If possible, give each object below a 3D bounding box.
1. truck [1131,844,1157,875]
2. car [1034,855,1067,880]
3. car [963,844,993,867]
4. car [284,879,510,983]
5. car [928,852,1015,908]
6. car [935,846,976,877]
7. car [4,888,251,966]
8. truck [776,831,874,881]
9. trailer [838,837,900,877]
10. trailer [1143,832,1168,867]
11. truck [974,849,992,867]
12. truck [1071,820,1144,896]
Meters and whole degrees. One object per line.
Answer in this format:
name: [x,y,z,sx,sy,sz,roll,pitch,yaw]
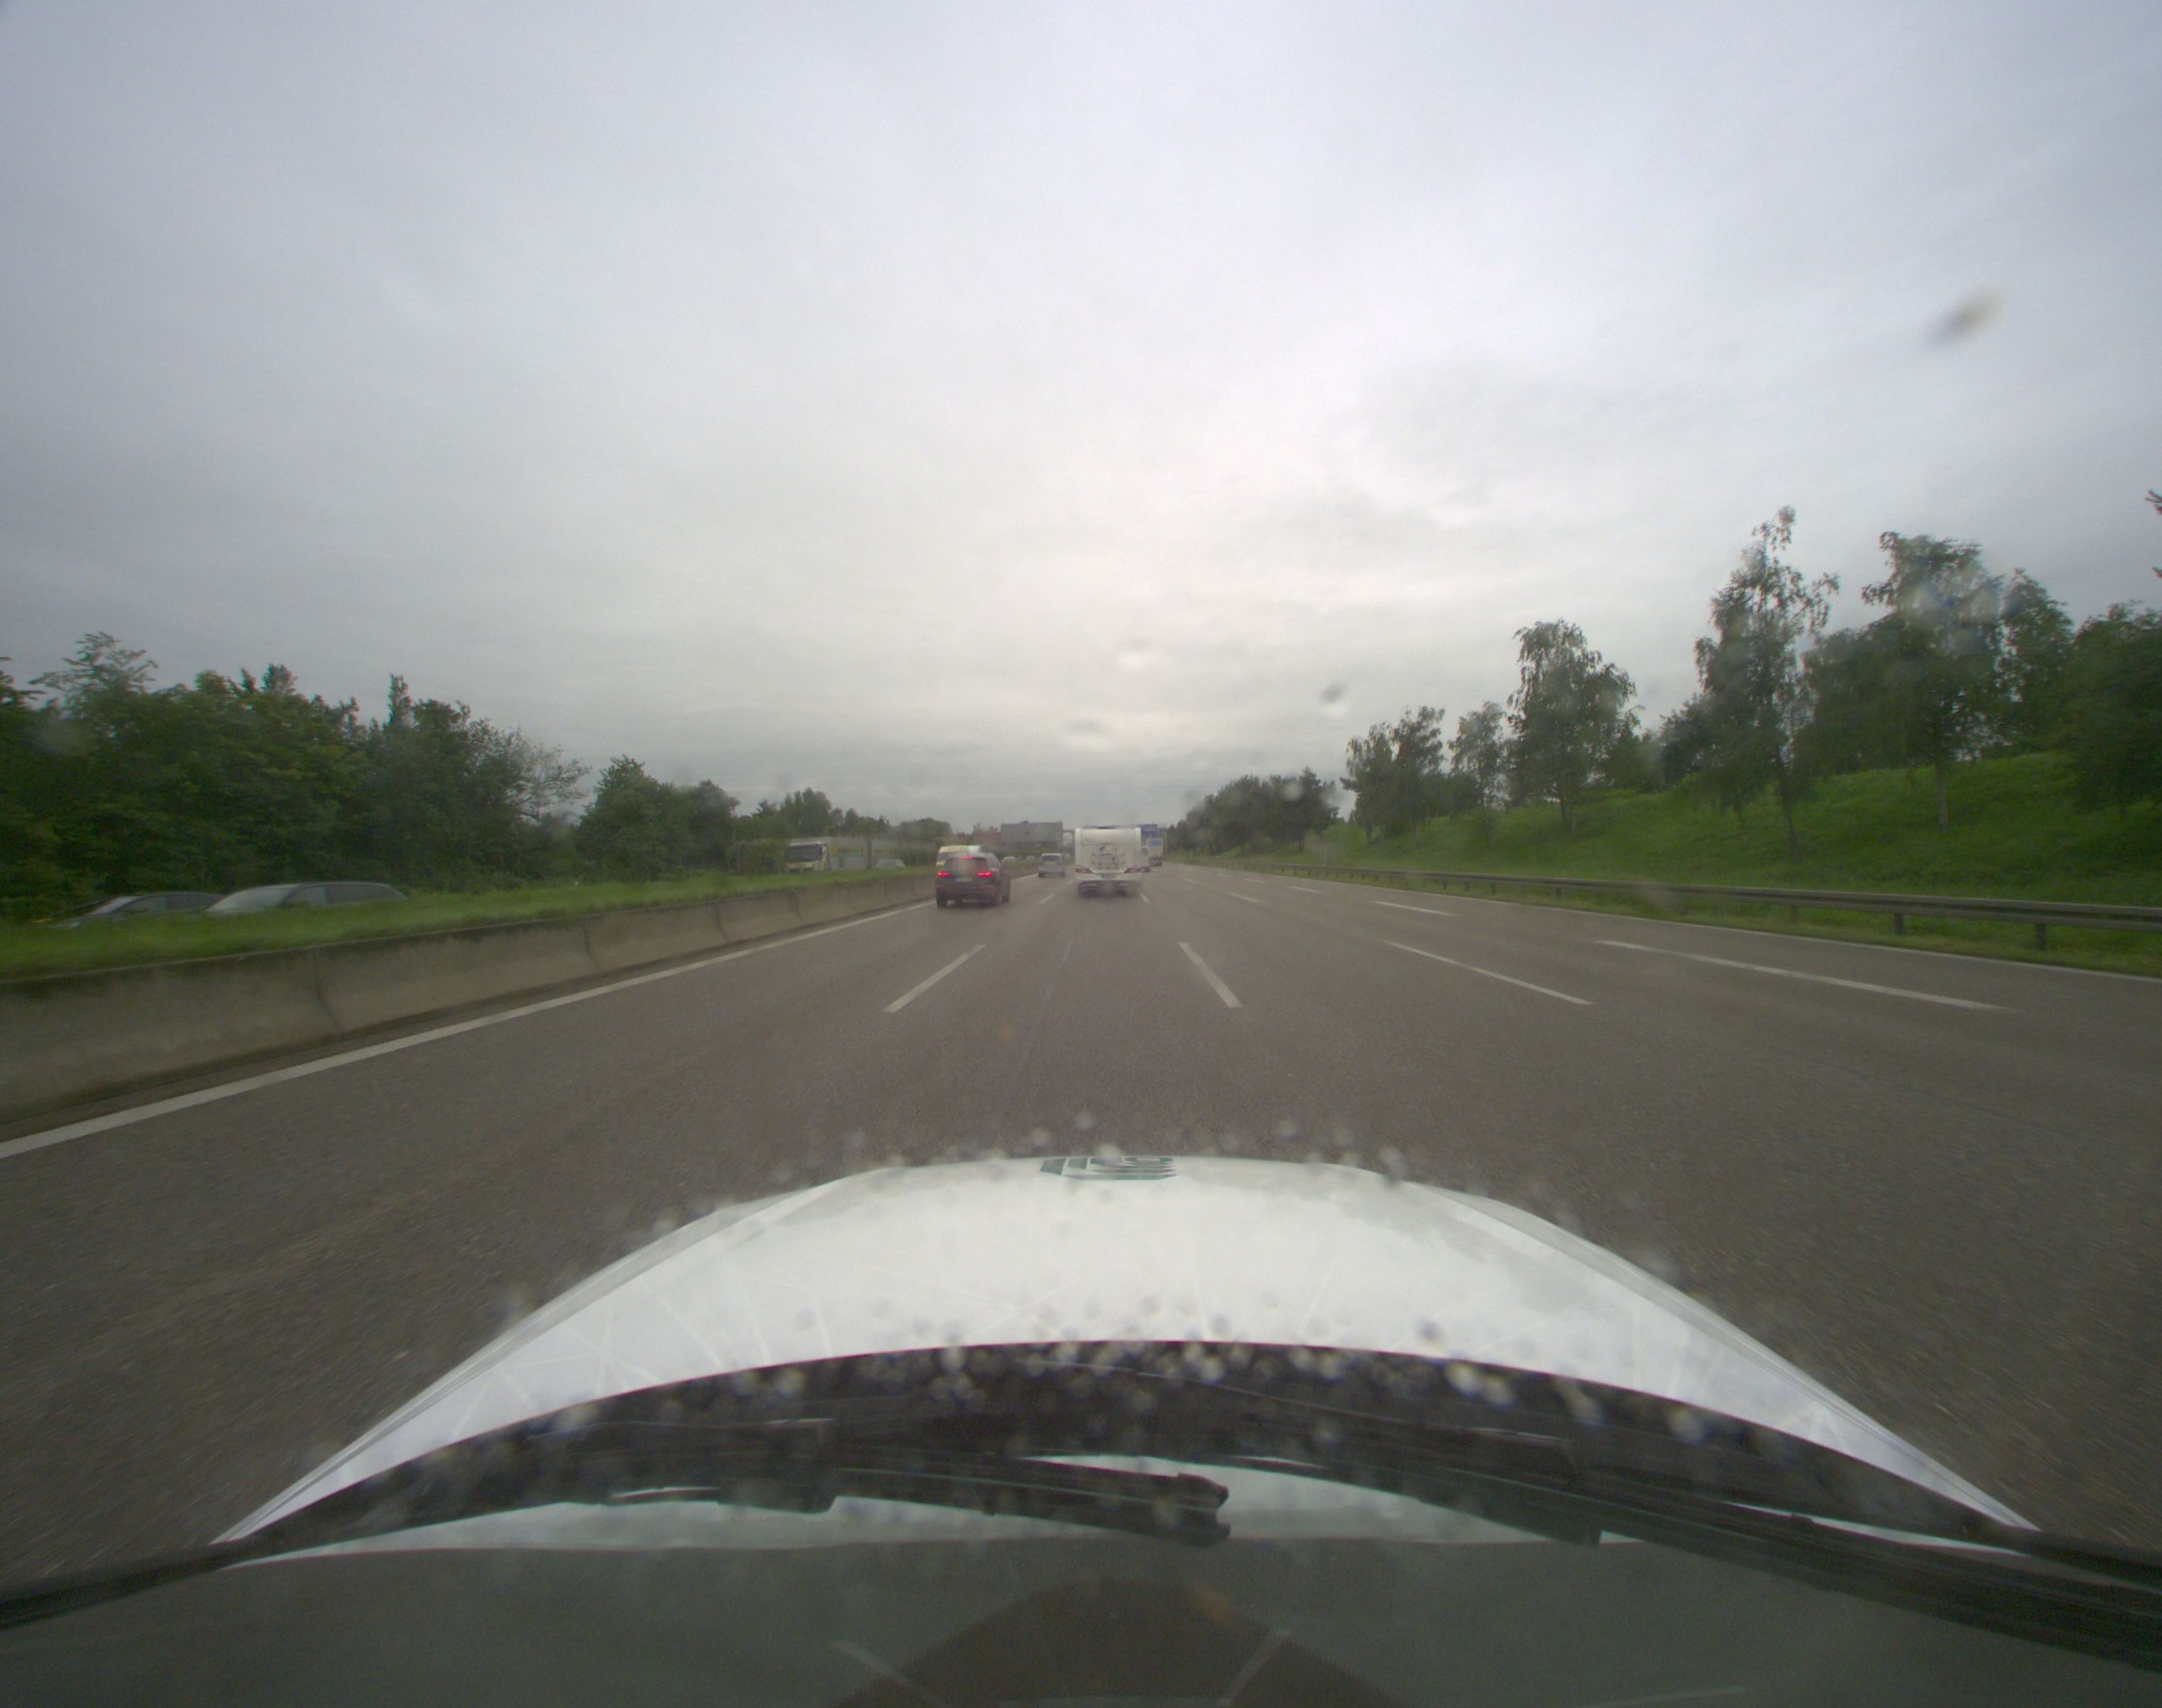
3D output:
truck: [5.894,0.515,76.702,2.046,2.770,5.550,0,0,1]
car: [-2.201,0.957,59.673,2.120,1.706,4.114,-1,0,1]
car: [-12.494,0.173,99.224,2.312,2.734,7.320,0,0,2]
car: [-15.281,1.635,18.523,1.696,2.014,3.955,0,0,2]
car: [-3.381,0.771,26.196,1.986,1.600,5.124,0,0,1]
car: [-10.232,0.622,67.115,2.051,2.385,7.325,0,0,1]
car: [-25.811,1.910,22.304,1.987,1.794,4.000,0,0,1]
truck: [-17.780,0.177,57.702,2.872,3.221,11.365,0,0,3]
trailer: [-17.380,0.244,67.395,2.766,3.077,7.876,0,0,2]
trailer: [10.922,-0.651,120.491,3.087,4.922,11.797,0,0,3]
truck: [-18.356,0.729,153.079,2.306,3.273,6.586,0,0,2]
truck: [1.022,0.177,32.008,2.651,2.742,5.078,0,0,1]
